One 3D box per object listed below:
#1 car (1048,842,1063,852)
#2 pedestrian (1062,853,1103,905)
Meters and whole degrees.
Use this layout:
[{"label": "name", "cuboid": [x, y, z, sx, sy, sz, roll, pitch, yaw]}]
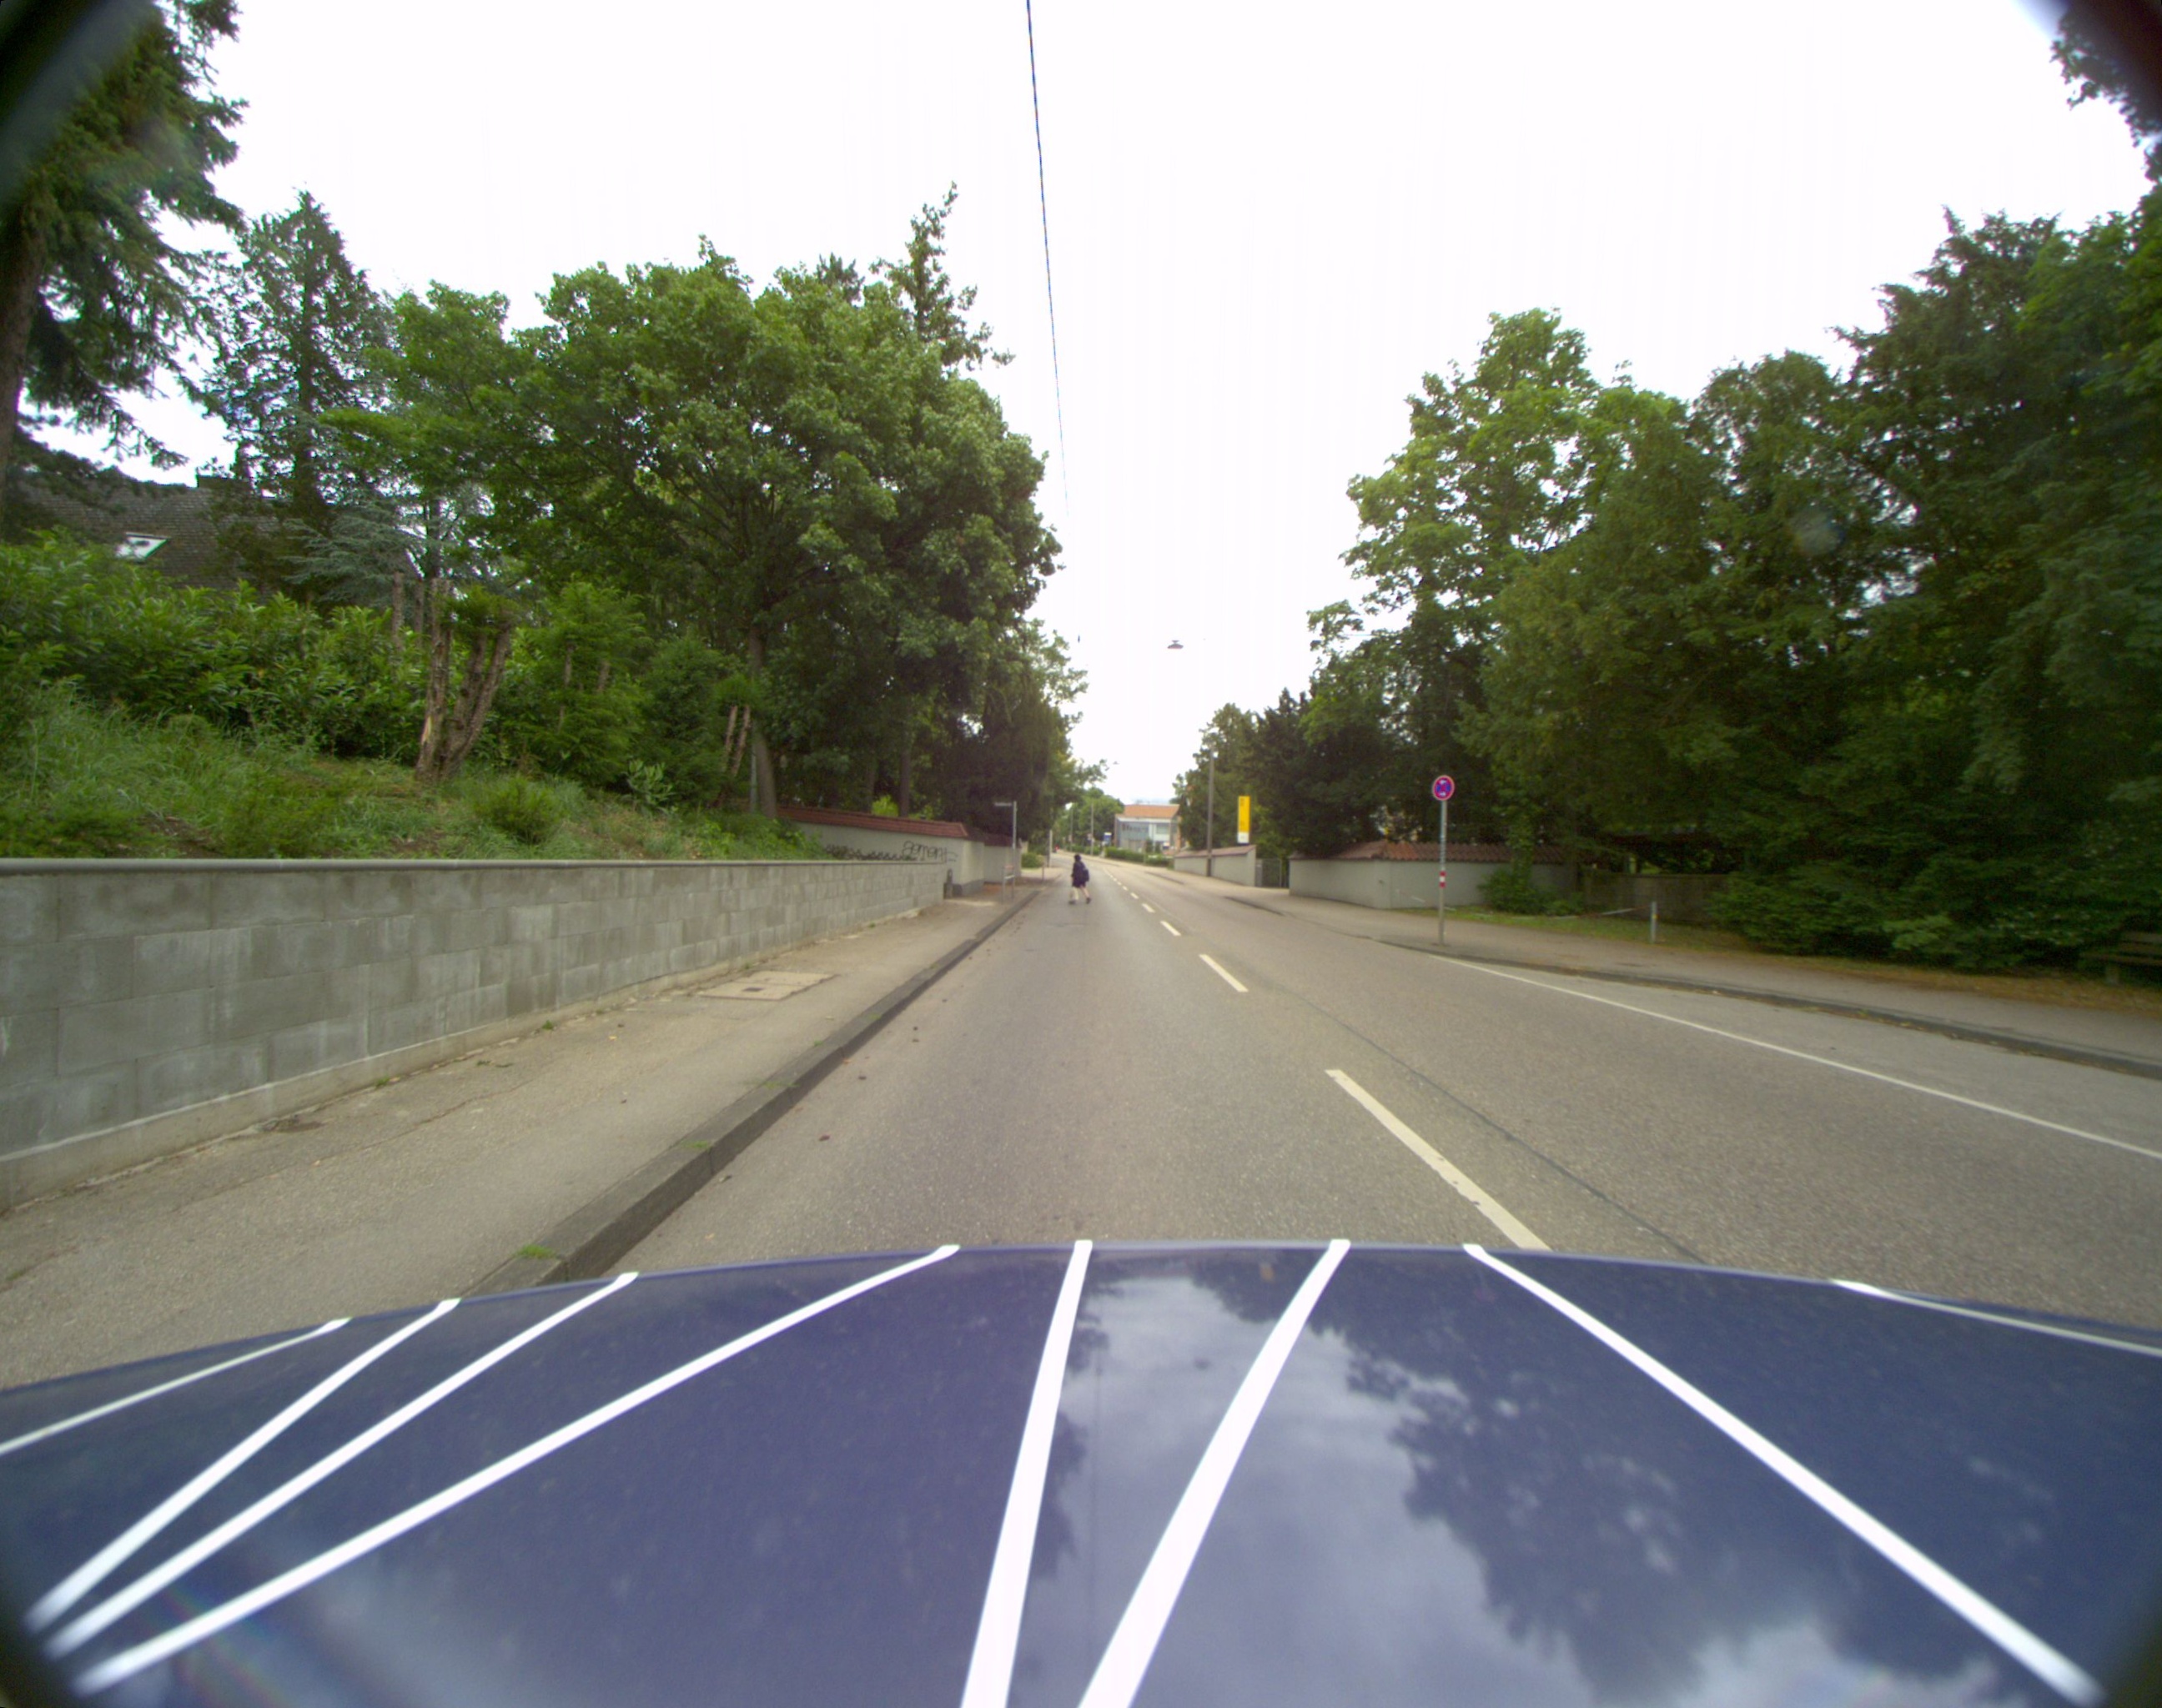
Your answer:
[{"label": "car", "cuboid": [-5.365, -1.379, 156.732, 1.898, 1.845, 5.075, 4, 0, -15]}, {"label": "pedestrian", "cuboid": [0.042, 0.759, 23.547, 0.900, 1.552, 0.930, 1, 2, 35]}]
